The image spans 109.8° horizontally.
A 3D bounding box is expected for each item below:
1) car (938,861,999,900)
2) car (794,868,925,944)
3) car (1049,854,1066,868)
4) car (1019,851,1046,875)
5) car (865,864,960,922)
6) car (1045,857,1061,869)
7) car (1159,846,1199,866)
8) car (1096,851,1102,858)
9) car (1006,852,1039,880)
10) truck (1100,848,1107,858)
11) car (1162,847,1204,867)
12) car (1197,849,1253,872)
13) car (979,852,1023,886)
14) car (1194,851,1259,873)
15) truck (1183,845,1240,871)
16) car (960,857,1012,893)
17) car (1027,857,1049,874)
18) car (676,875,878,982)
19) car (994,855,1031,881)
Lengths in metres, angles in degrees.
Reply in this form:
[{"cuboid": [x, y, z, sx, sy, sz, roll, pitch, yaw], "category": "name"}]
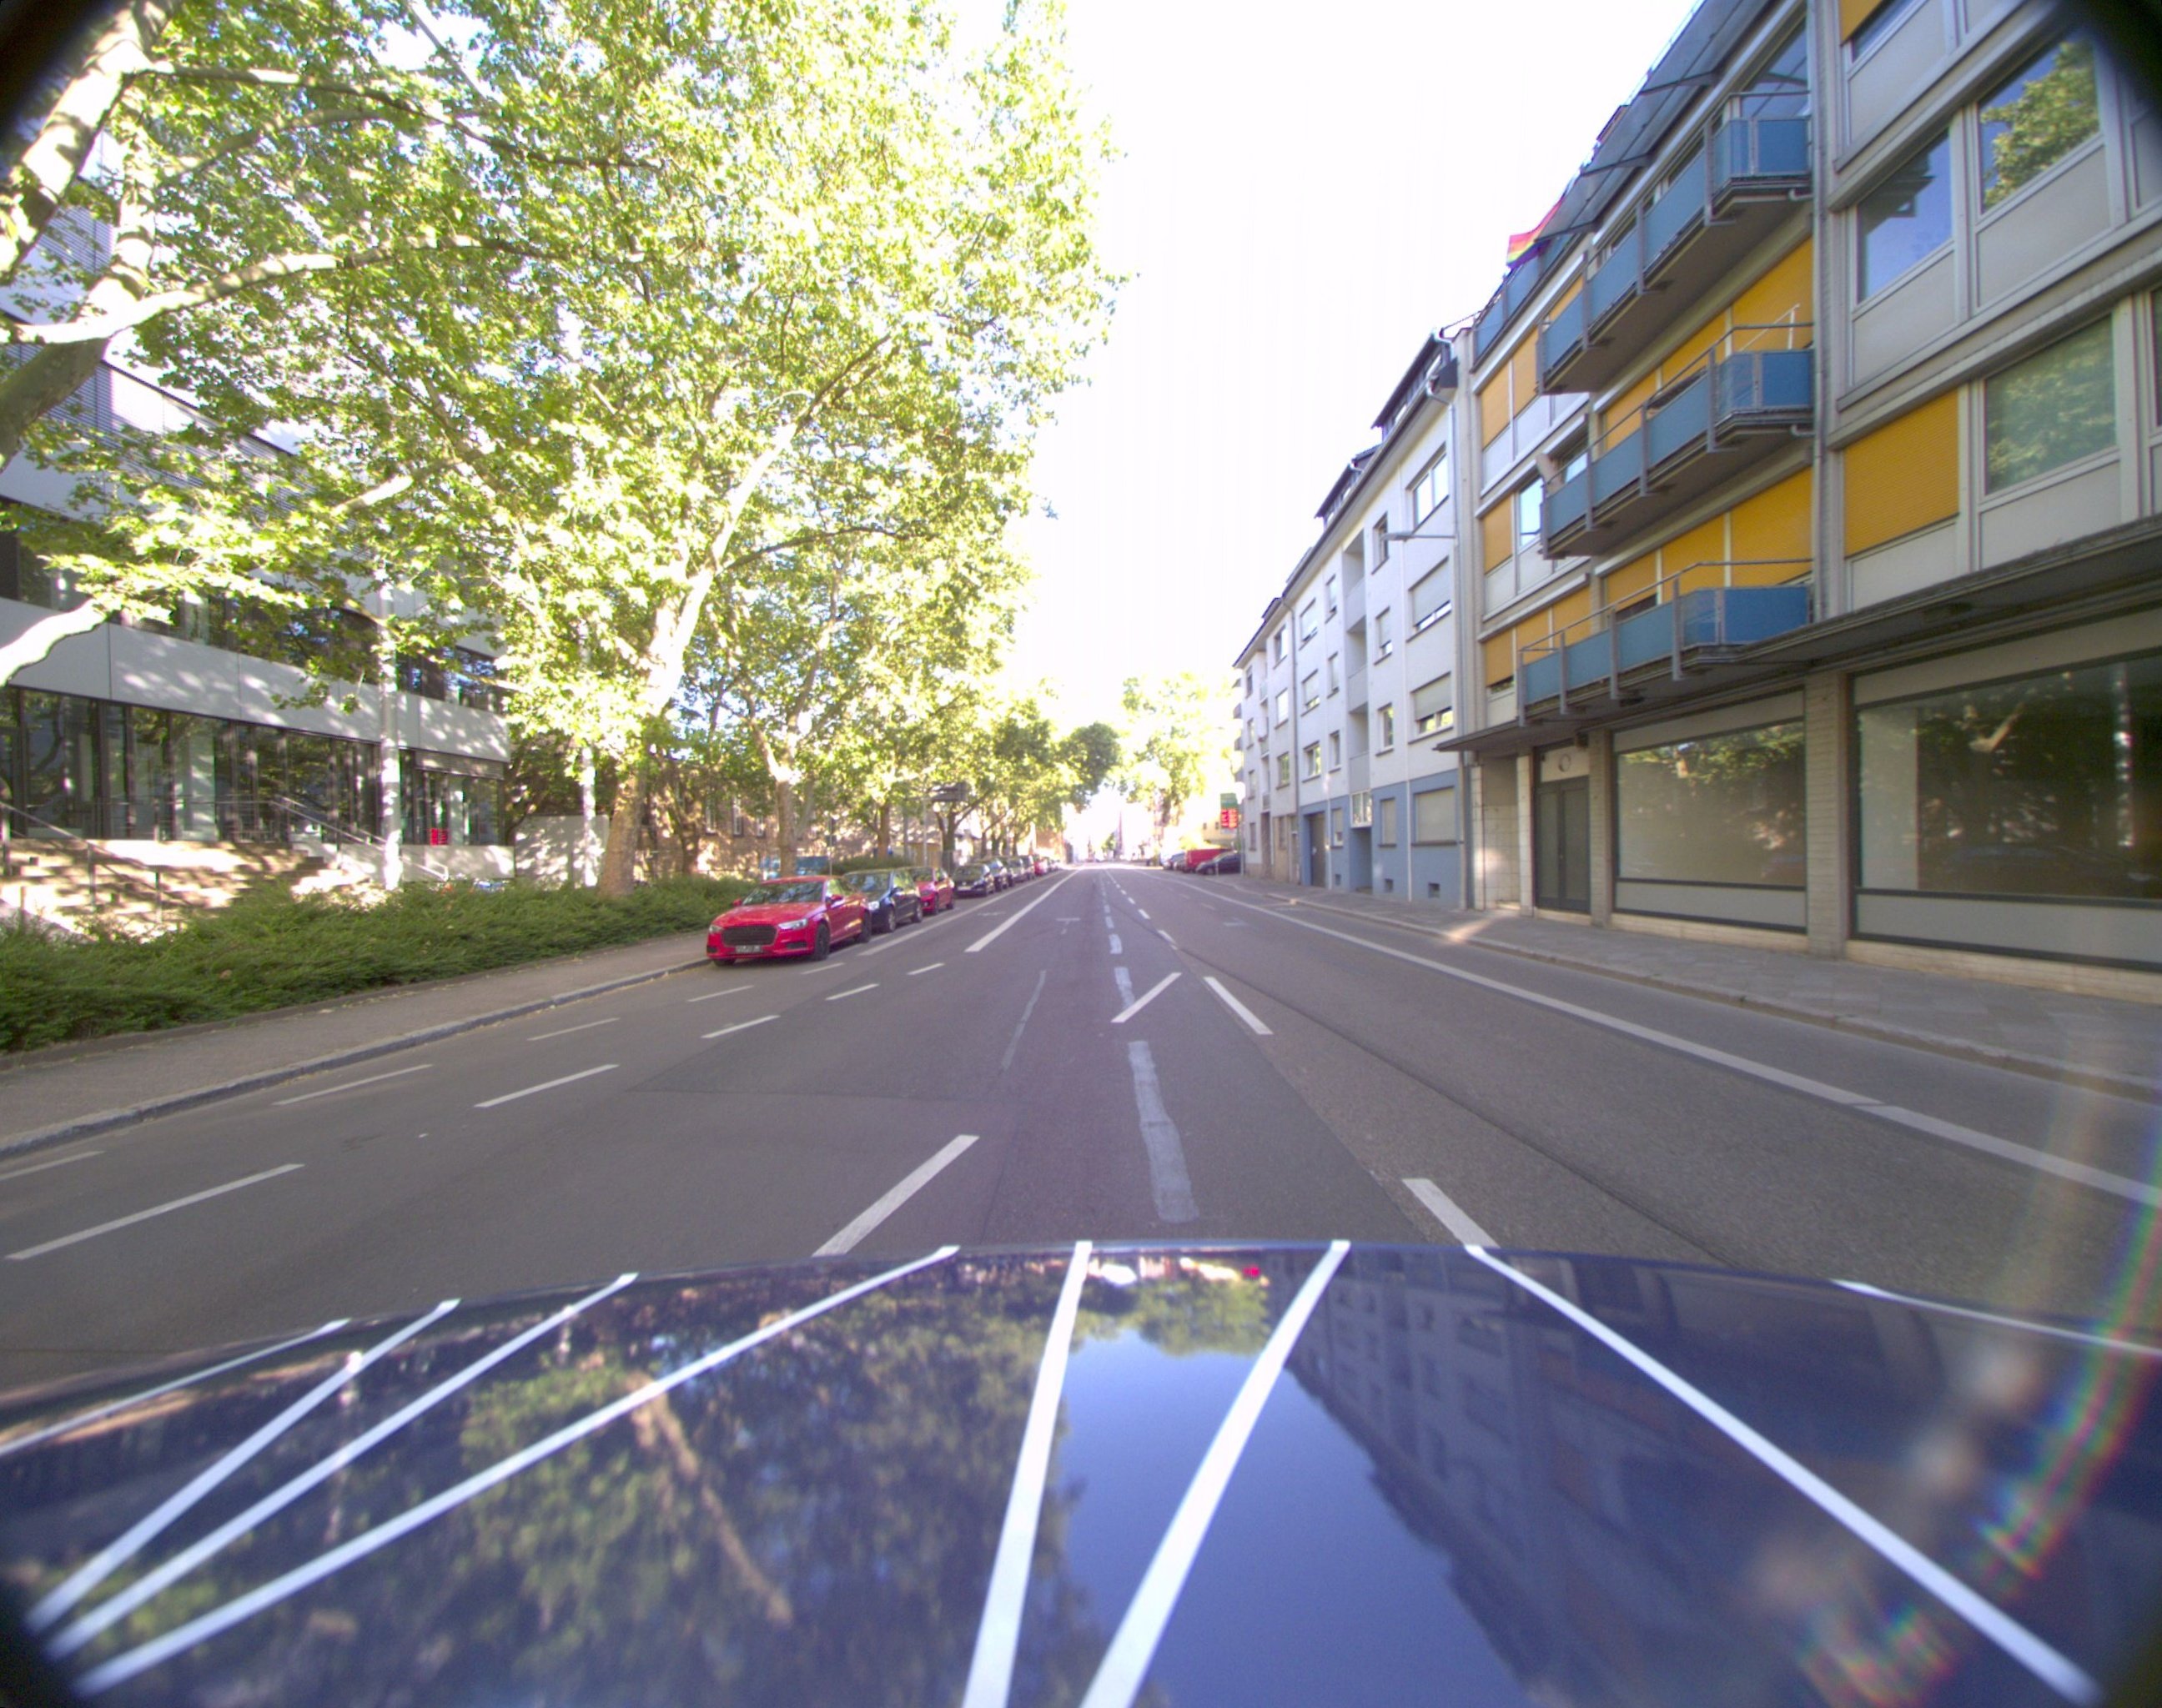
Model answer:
[{"cuboid": [-4.842, 1.126, 33.185, 1.998, 1.447, 3.589, -2, 1, 1], "category": "car"}, {"cuboid": [-5.176, 1.167, 18.302, 1.998, 1.452, 3.644, -2, 1, 1], "category": "car"}, {"cuboid": [-3.191, 0.897, 103.014, 1.998, 1.682, 3.999, -2, 1, 1], "category": "car"}, {"cuboid": [-4.227, 0.764, 66.402, 1.998, 1.960, 3.999, -2, 1, 1], "category": "car"}, {"cuboid": [-5.131, 1.146, 23.680, 1.998, 1.490, 3.828, -2, 1, 1], "category": "car"}, {"cuboid": [-3.353, 1.062, 92.743, 1.693, 1.364, 3.999, -2, 1, 1], "category": "car"}, {"cuboid": [10.944, 0.208, 85.320, 4.236, 2.025, 2.000, -2, 1, 3], "category": "car"}, {"cuboid": [6.152, 0.166, 259.460, 1.998, 2.002, 3.999, -2, 1, 1], "category": "car"}, {"cuboid": [-4.244, 0.839, 55.591, 1.998, 1.838, 3.999, -2, 1, 1], "category": "car"}, {"cuboid": [6.865, -0.318, 233.829, 1.998, 2.653, 5.314, -2, 1, 0], "category": "truck"}, {"cuboid": [10.858, 0.275, 80.919, 4.236, 1.945, 2.000, -2, 1, 3], "category": "car"}, {"cuboid": [10.797, 0.444, 57.121, 3.810, 1.563, 1.658, -2, 1, 0], "category": "car"}, {"cuboid": [-4.612, 0.834, 44.522, 1.998, 1.777, 4.572, -2, 1, 1], "category": "car"}, {"cuboid": [10.451, 0.566, 54.789, 4.324, 1.398, 1.658, -2, 1, 0], "category": "car"}, {"cuboid": [10.282, 0.313, 60.218, 4.092, 1.913, 2.000, -2, 1, 0], "category": "truck"}, {"cuboid": [-4.688, 1.002, 38.131, 1.998, 1.592, 4.142, -2, 1, 1], "category": "car"}, {"cuboid": [-4.042, 1.075, 72.003, 1.824, 1.466, 3.999, -2, 1, 1], "category": "car"}, {"cuboid": [-5.190, 1.195, 13.643, 1.907, 1.417, 3.999, -2, 1, 1], "category": "car"}, {"cuboid": [-4.536, 0.917, 50.931, 1.998, 1.557, 4.142, -2, 1, 1], "category": "car"}]
